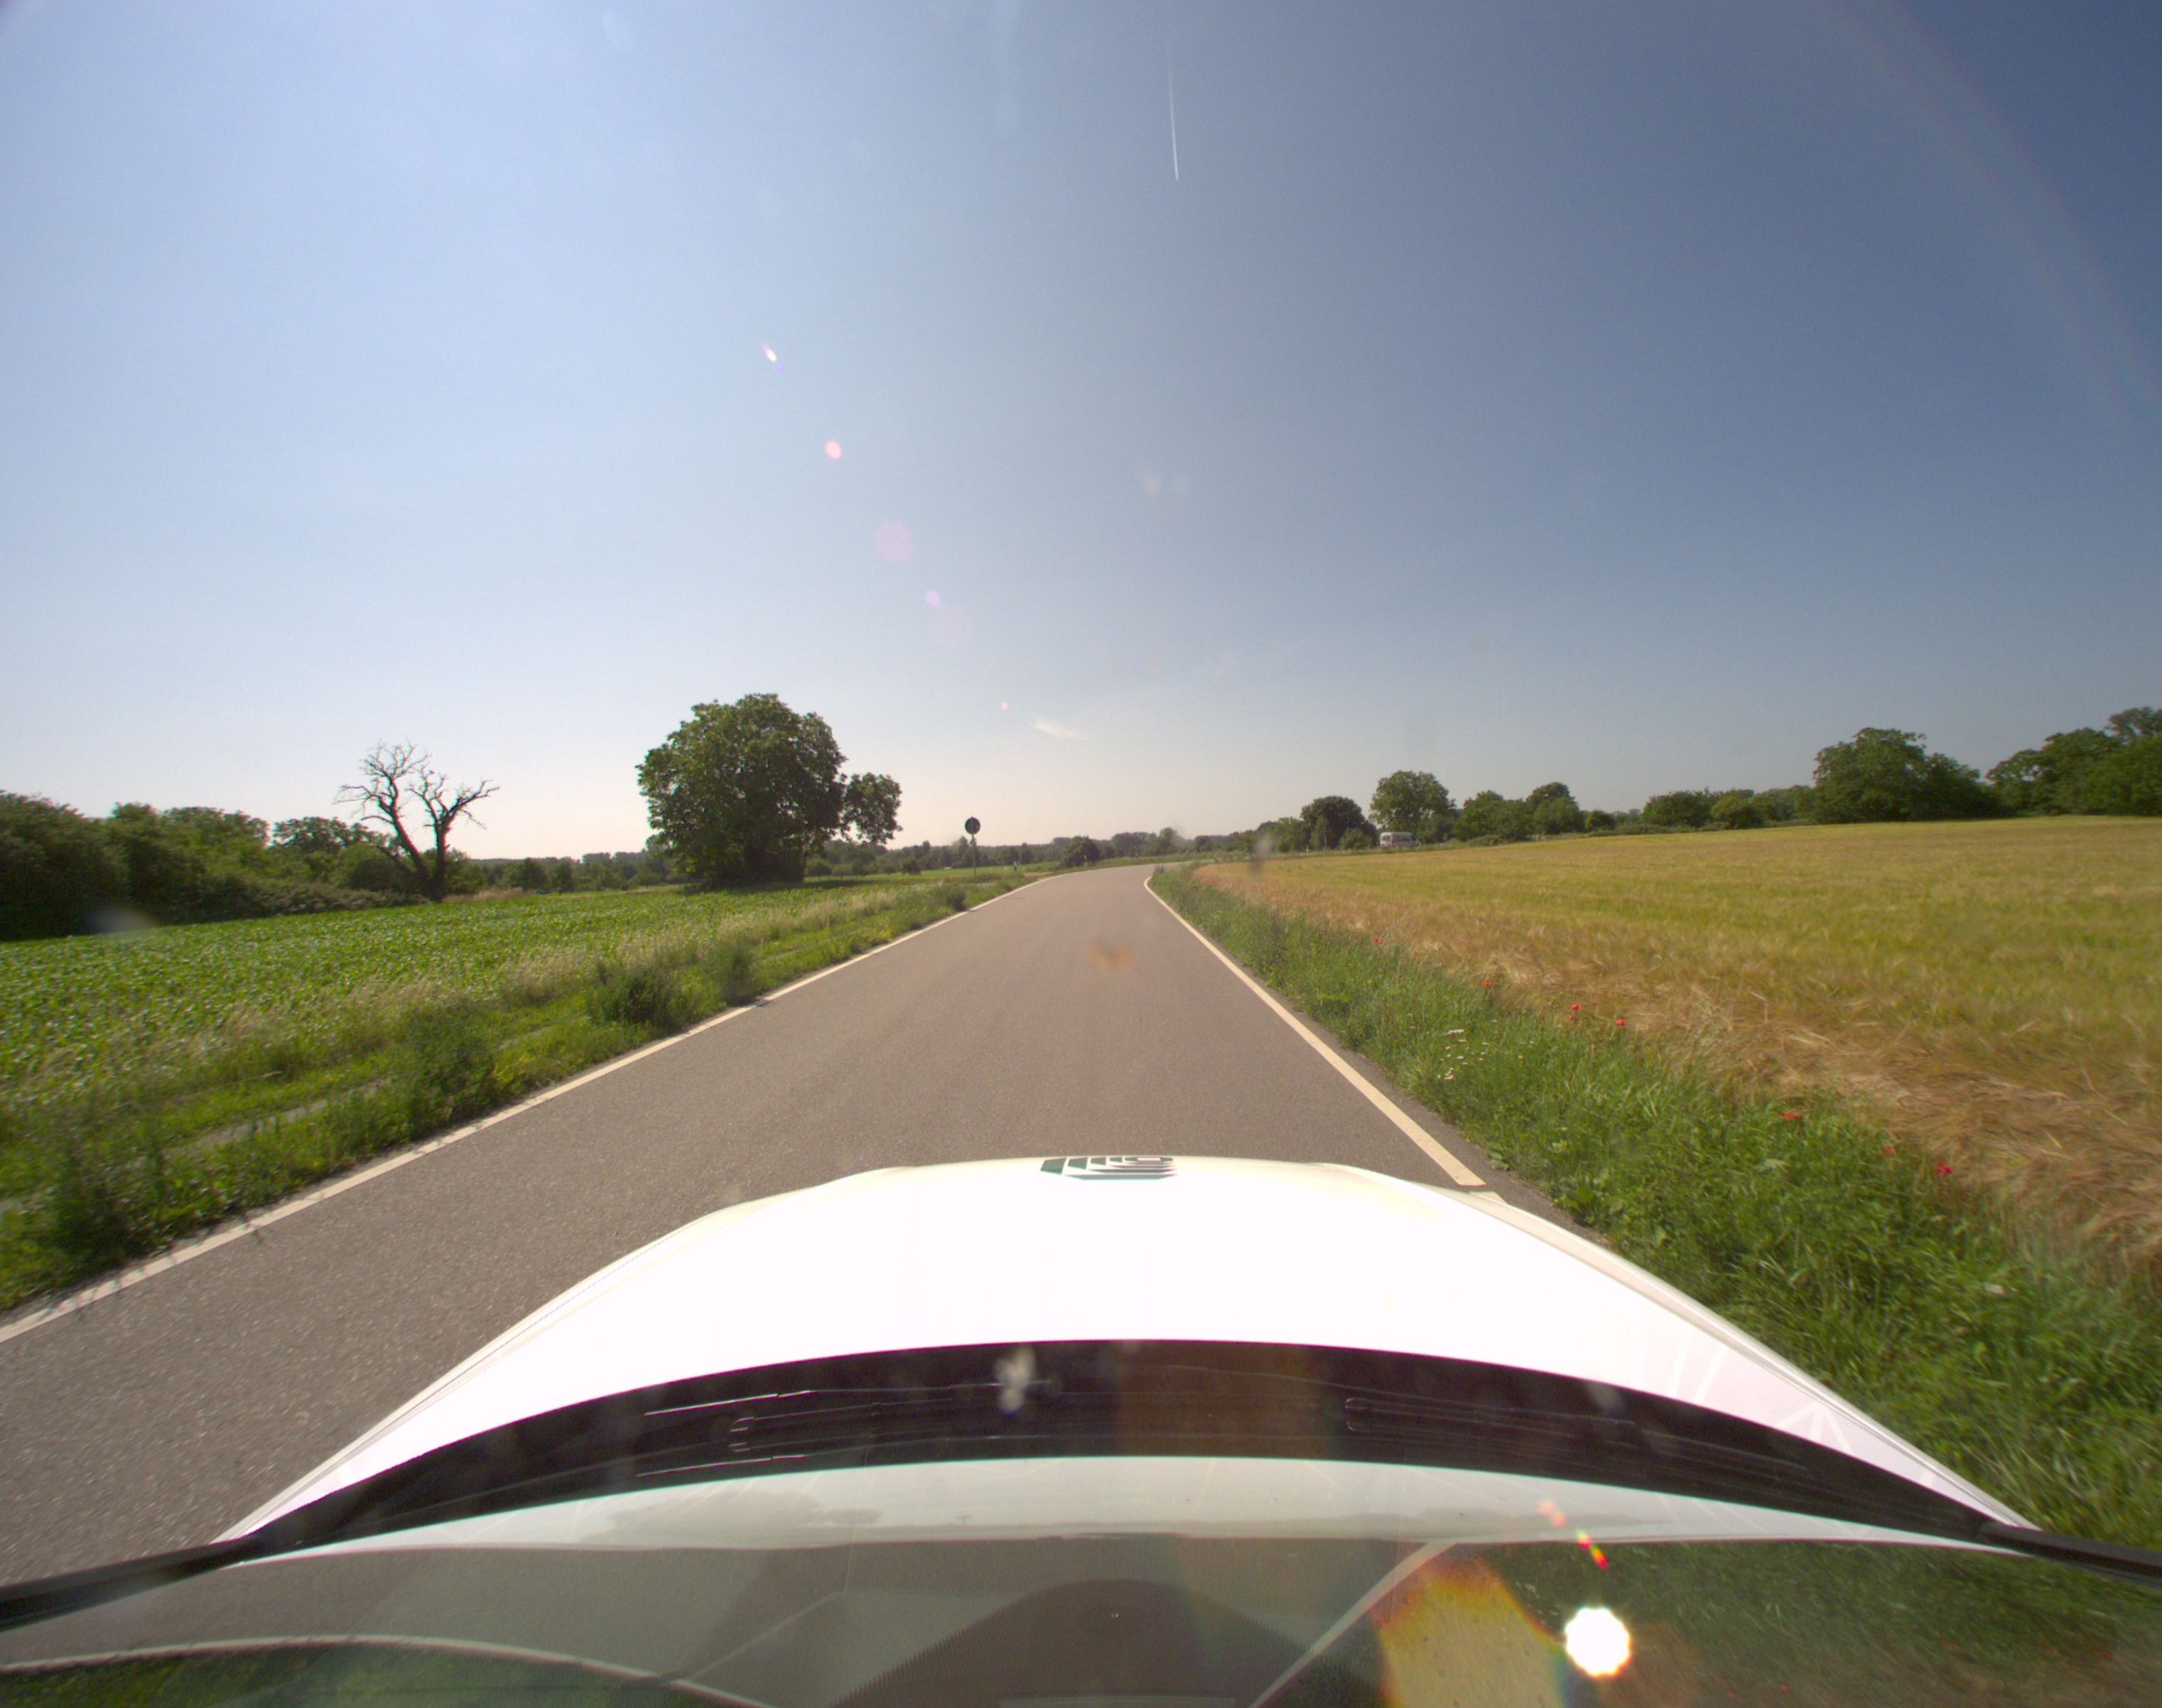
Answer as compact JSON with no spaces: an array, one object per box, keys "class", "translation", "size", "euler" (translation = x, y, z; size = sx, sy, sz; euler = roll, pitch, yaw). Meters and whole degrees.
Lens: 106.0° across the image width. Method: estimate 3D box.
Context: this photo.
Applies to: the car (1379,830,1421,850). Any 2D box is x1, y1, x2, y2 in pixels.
[{"class":"car","translation":[42.715,-1.937,109.097],"size":[5.705,2.367,2.090],"euler":[-3,0,-31]}]
